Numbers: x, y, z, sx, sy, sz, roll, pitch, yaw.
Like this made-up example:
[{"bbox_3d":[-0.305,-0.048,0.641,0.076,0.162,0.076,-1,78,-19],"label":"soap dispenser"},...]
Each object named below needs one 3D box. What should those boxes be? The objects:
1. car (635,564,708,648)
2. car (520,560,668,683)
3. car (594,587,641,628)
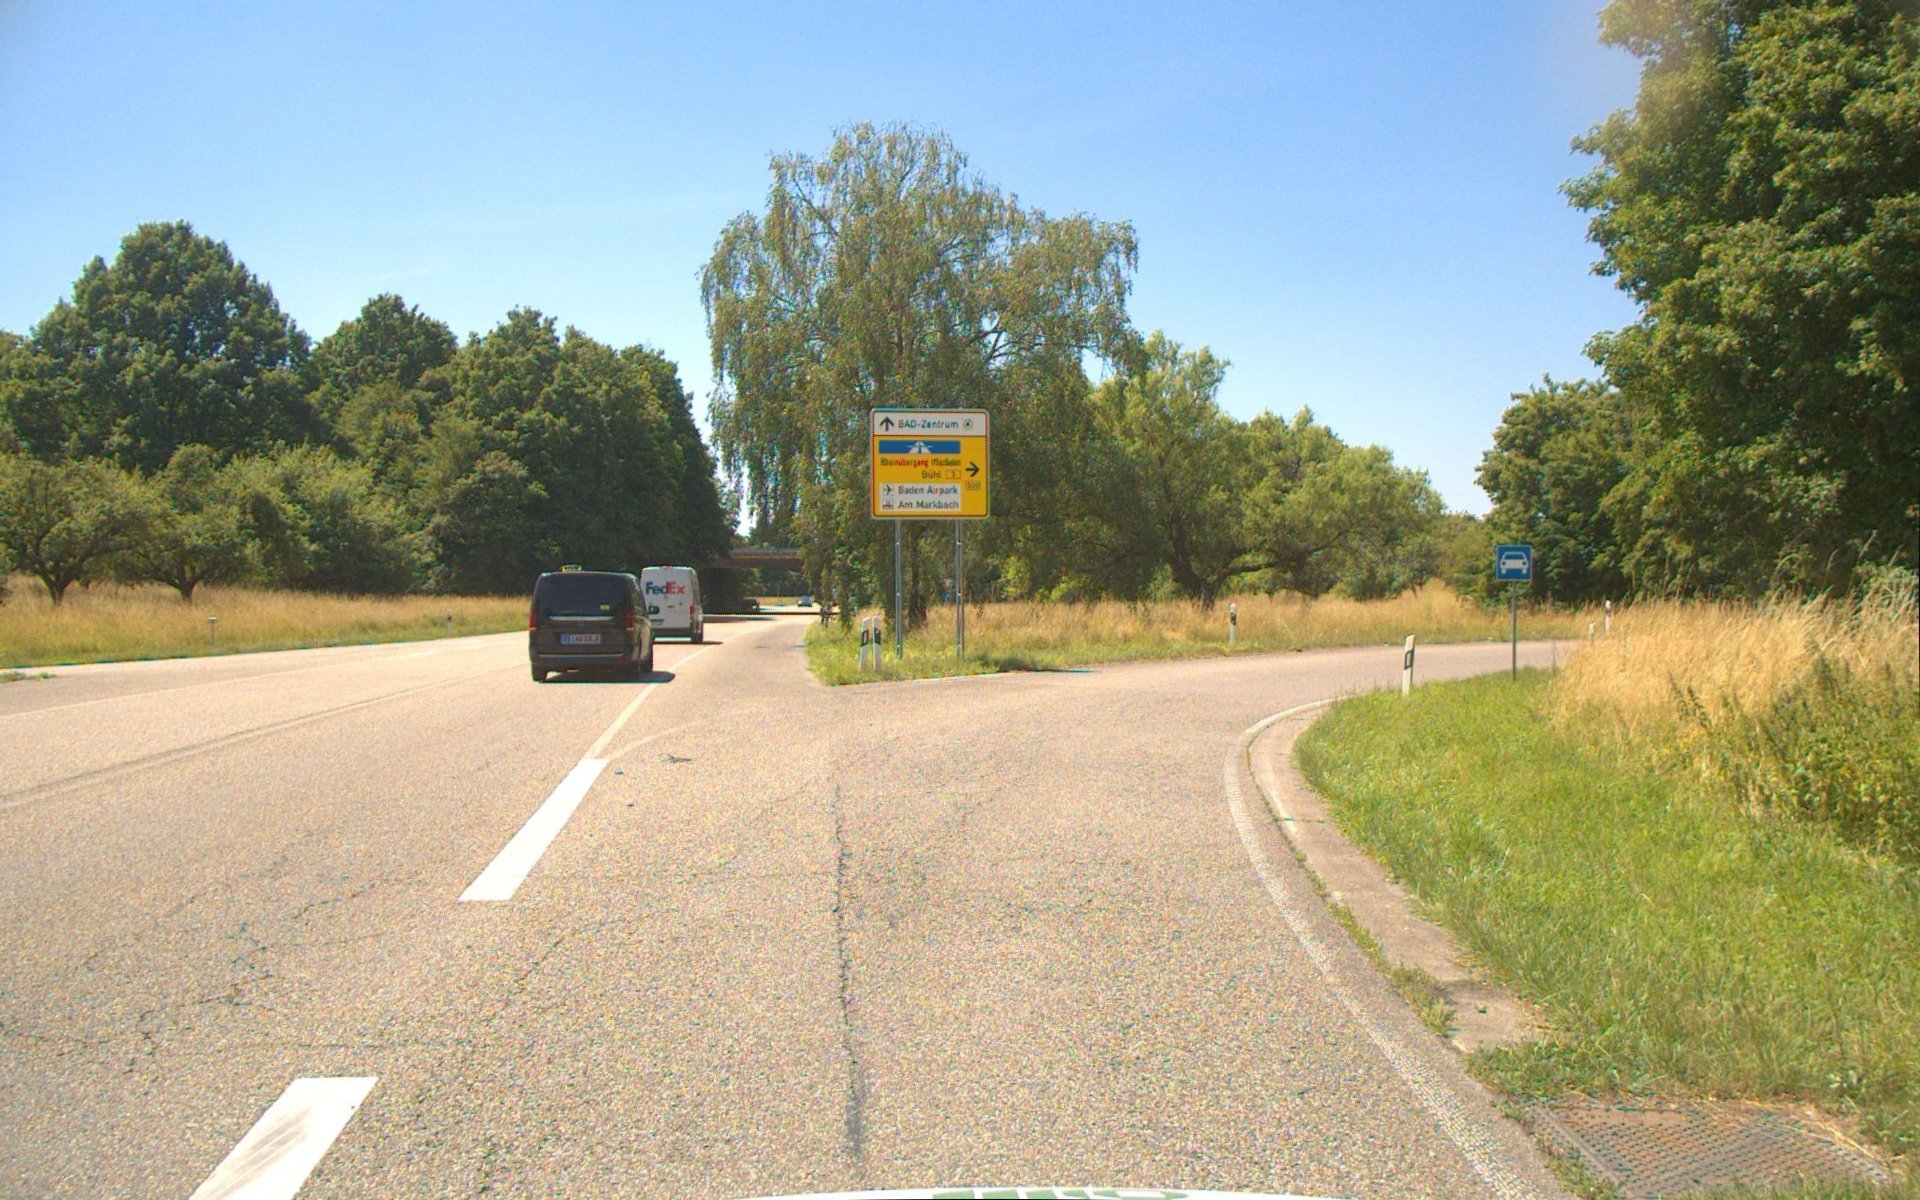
[{"bbox_3d":[-9.991,0.197,57.646,2.038,2.750,4.661,2,0,-5],"label":"car"},{"bbox_3d":[-6.508,0.358,29.931,1.955,1.987,4.999,2,0,-6],"label":"car"},{"bbox_3d":[-18.395,0.397,89.045,1.955,2.049,3.995,3,0,-5],"label":"car"}]
